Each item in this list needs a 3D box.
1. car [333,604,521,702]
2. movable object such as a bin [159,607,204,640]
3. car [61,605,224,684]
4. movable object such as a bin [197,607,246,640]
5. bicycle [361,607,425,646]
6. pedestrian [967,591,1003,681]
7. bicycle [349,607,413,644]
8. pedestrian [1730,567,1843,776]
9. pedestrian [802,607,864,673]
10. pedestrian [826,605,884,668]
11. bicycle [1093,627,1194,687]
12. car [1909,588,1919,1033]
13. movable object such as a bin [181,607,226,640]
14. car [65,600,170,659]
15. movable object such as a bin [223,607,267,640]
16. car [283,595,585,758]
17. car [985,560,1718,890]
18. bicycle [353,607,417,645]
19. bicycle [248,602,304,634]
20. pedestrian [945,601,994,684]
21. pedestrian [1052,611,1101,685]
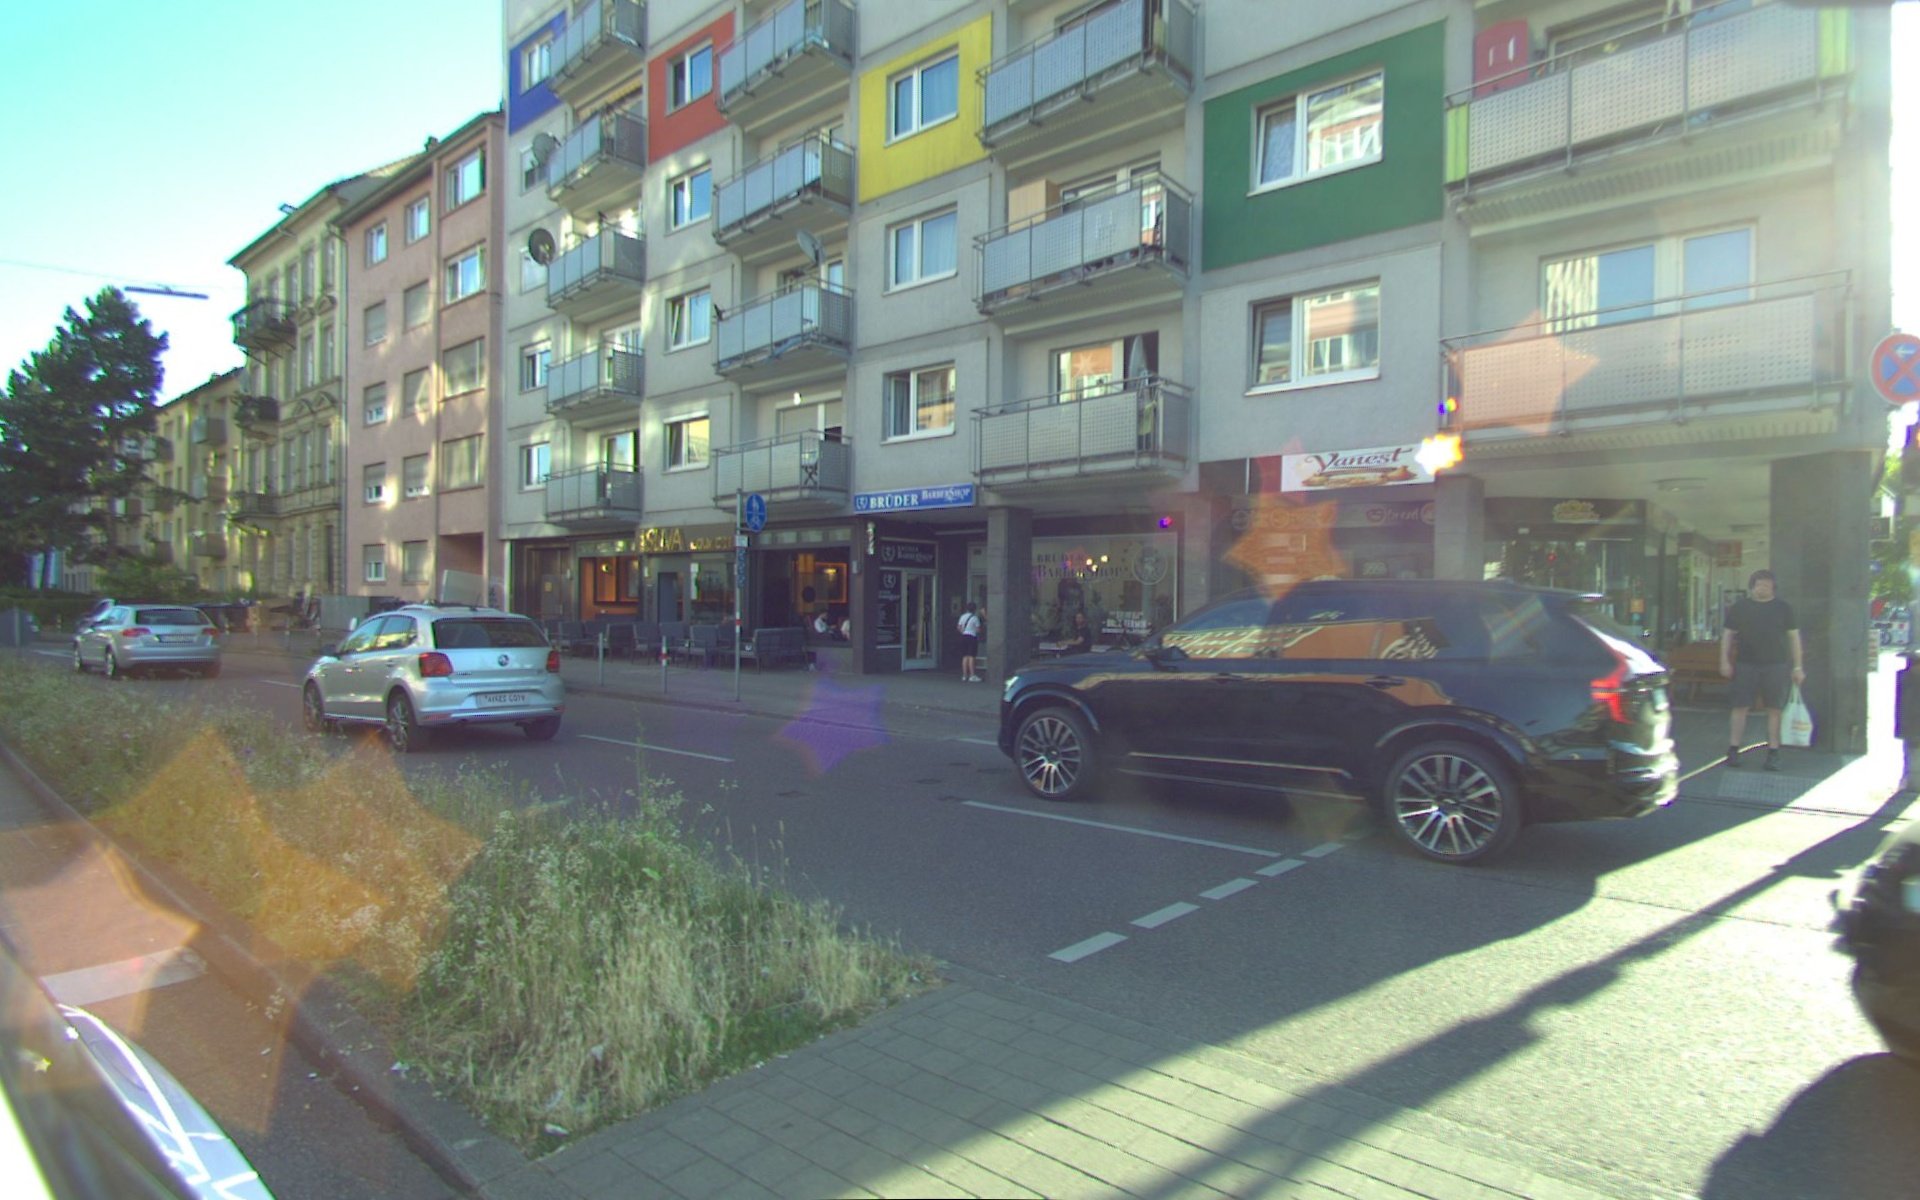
[{"bbox_3d":[-9.474,0.871,17.903,3.635,1.556,1.658,0,-2,40],"label":"car"},{"bbox_3d":[-30.148,0.890,39.200,0.837,1.242,1.193,0,0,1],"label":"movable object such as a bin"},{"bbox_3d":[-16.435,0.842,20.287,4.098,1.436,1.692,0,-2,39],"label":"car"},{"bbox_3d":[-28.355,0.882,38.874,0.916,1.242,1.292,0,0,1],"label":"movable object such as a bin"},{"bbox_3d":[-18.161,0.835,32.443,0.473,1.200,1.758,0,0,38],"label":"bicycle"},{"bbox_3d":[0.491,0.676,19.415,0.650,1.685,0.624,0,0,5],"label":"pedestrian"},{"bbox_3d":[-19.083,0.833,33.384,0.473,1.200,1.758,0,0,38],"label":"bicycle"},{"bbox_3d":[7.905,0.645,9.683,0.812,1.889,0.602,0,2,42],"label":"pedestrian"},{"bbox_3d":[-2.666,0.820,21.305,0.882,1.356,0.961,0,-1,41],"label":"pedestrian"},{"bbox_3d":[-2.350,0.796,22.615,0.974,1.356,0.871,0,-1,41],"label":"pedestrian"},{"bbox_3d":[3.297,1.008,18.259,1.692,1.006,0.620,1,0,32],"label":"bicycle"},{"bbox_3d":[4.387,0.722,2.081,3.476,1.556,1.561,-1,-2,42],"label":"car"},{"bbox_3d":[-29.279,0.885,39.169,0.837,1.242,1.193,0,0,1],"label":"movable object such as a bin"},{"bbox_3d":[-24.150,0.824,29.001,2.799,1.605,1.523,0,-2,33],"label":"car"},{"bbox_3d":[-27.426,0.878,38.813,0.837,1.242,1.193,0,0,1],"label":"movable object such as a bin"},{"bbox_3d":[-6.088,0.767,11.558,3.802,1.556,1.659,0,-2,39],"label":"car"},{"bbox_3d":[2.613,0.693,7.548,4.782,1.724,1.797,0,-2,40],"label":"car"},{"bbox_3d":[-18.699,0.838,32.942,0.473,1.200,1.758,0,0,38],"label":"bicycle"},{"bbox_3d":[-26.472,0.685,39.187,0.473,1.200,1.758,0,0,38],"label":"bicycle"},{"bbox_3d":[0.172,0.767,18.532,0.658,1.478,0.617,0,-1,42],"label":"pedestrian"},{"bbox_3d":[2.122,0.859,18.507,0.799,1.323,0.626,0,0,-2],"label":"pedestrian"}]
